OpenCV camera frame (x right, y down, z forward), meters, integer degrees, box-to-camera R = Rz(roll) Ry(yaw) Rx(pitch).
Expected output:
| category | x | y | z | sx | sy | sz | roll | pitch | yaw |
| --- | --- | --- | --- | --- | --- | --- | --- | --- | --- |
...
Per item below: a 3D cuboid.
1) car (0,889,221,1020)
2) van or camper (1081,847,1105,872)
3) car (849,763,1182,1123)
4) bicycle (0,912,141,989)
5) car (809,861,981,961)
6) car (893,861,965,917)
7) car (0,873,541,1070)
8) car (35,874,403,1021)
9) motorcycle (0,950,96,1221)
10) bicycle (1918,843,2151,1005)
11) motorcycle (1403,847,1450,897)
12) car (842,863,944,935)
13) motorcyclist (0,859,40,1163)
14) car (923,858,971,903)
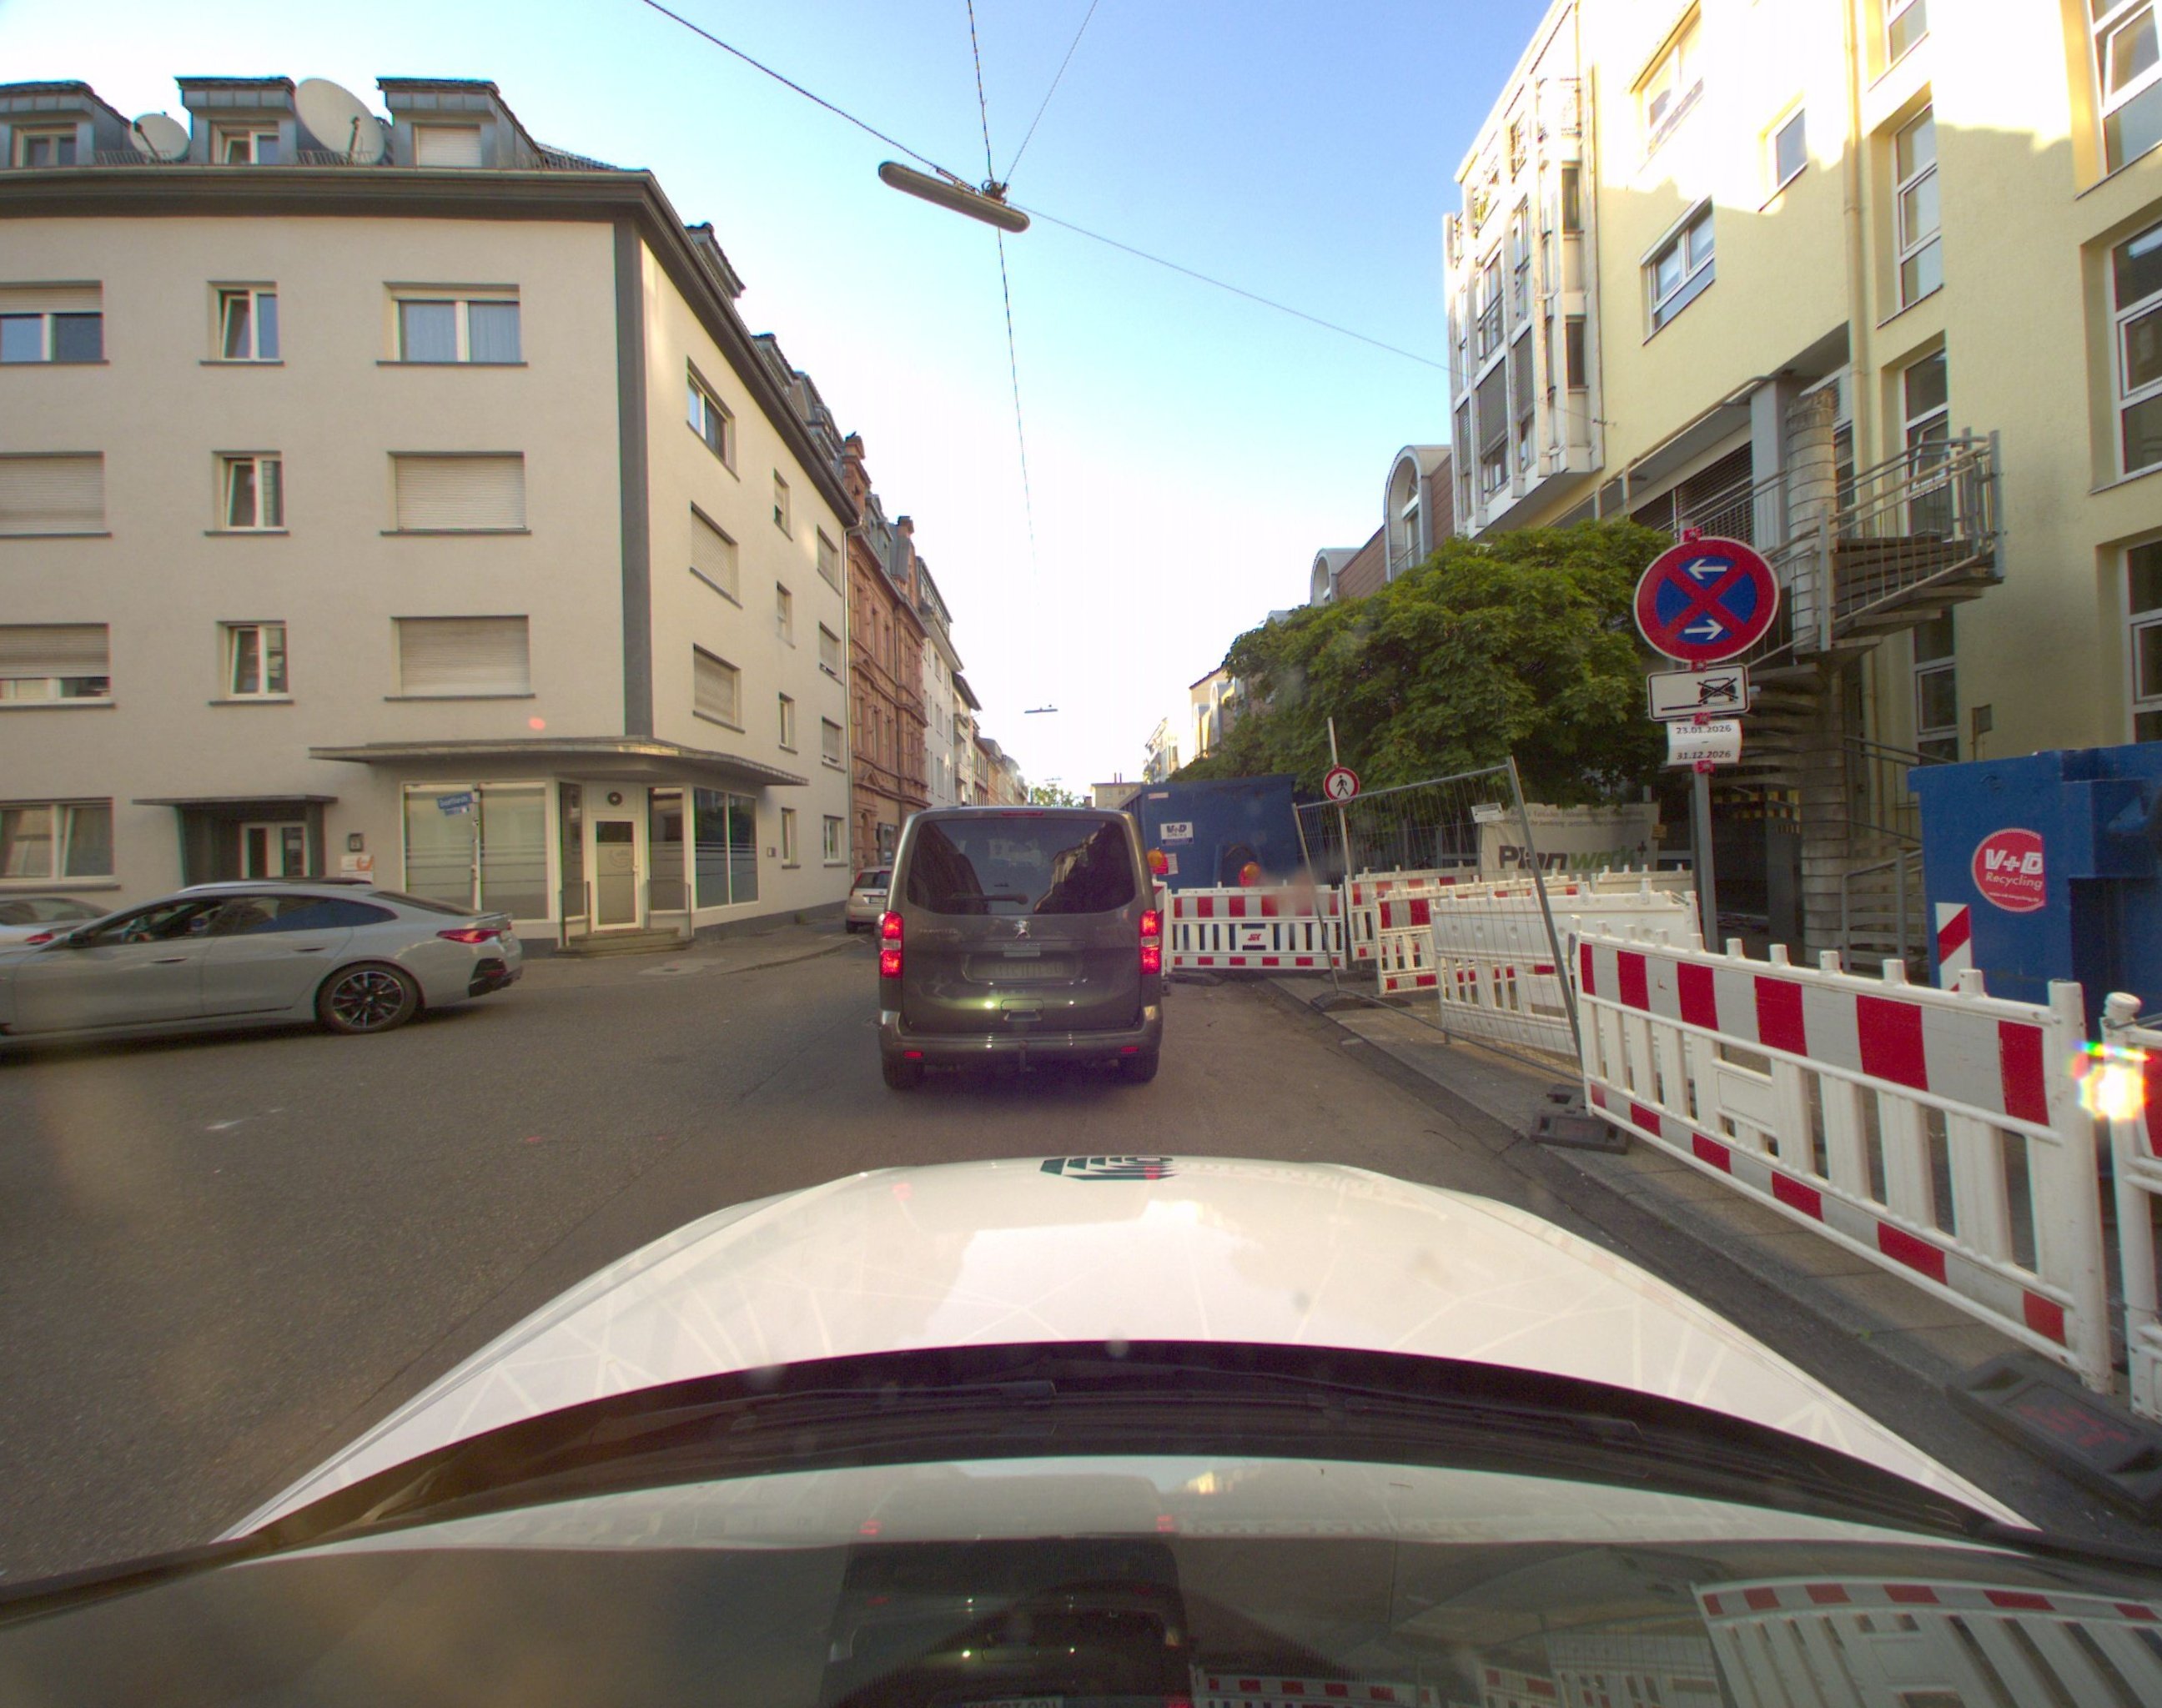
| category | x | y | z | sx | sy | sz | roll | pitch | yaw |
| --- | --- | --- | --- | --- | --- | --- | --- | --- | --- |
| car | -14.403 | 1.276 | 10.582 | 4.238 | 1.453 | 1.967 | -1 | 0 | -2 |
| van or camper | 1.256 | 0.586 | 90.369 | 2.094 | 2.602 | 7.505 | -3 | 0 | -2 |
| car | -0.432 | 0.521 | 6.835 | 1.853 | 2.013 | 3.997 | -4 | 0 | -2 |
| bicycle | -16.033 | 1.495 | 12.695 | 2.046 | 1.137 | 0.488 | 0 | -1 | -4 |
| car | -3.144 | 0.901 | 14.670 | 1.986 | 1.486 | 4.002 | -1 | 0 | 2 |
| car | -4.449 | 0.975 | 24.303 | 1.551 | 1.508 | 3.595 | 1 | 0 | -2 |
| car | -8.264 | 1.004 | 8.043 | 4.675 | 1.486 | 1.982 | -1 | 0 | -28 |
| car | -10.493 | 1.084 | 10.095 | 2.746 | 1.566 | 1.648 | -1 | 0 | -1 |
| motorcycle | -6.046 | 1.143 | 3.941 | 1.684 | 1.249 | 0.808 | 0 | 1 | 6 |
| bicycle | 7.991 | 0.551 | 6.839 | 1.646 | 1.268 | 0.547 | 0 | -1 | -12 |
| motorcycle | 9.198 | 0.465 | 21.783 | 0.863 | 1.222 | 2.468 | -3 | -1 | 17 |
| car | -4.219 | 0.958 | 18.762 | 1.628 | 1.430 | 3.552 | -1 | 0 | -2 |
| motorcyclist | -6.113 | 0.819 | 3.956 | 0.991 | 1.567 | 0.876 | 0 | 1 | 7 |
| car | -5.041 | 0.966 | 30.960 | 1.392 | 1.588 | 2.792 | -1 | 0 | -2 |
